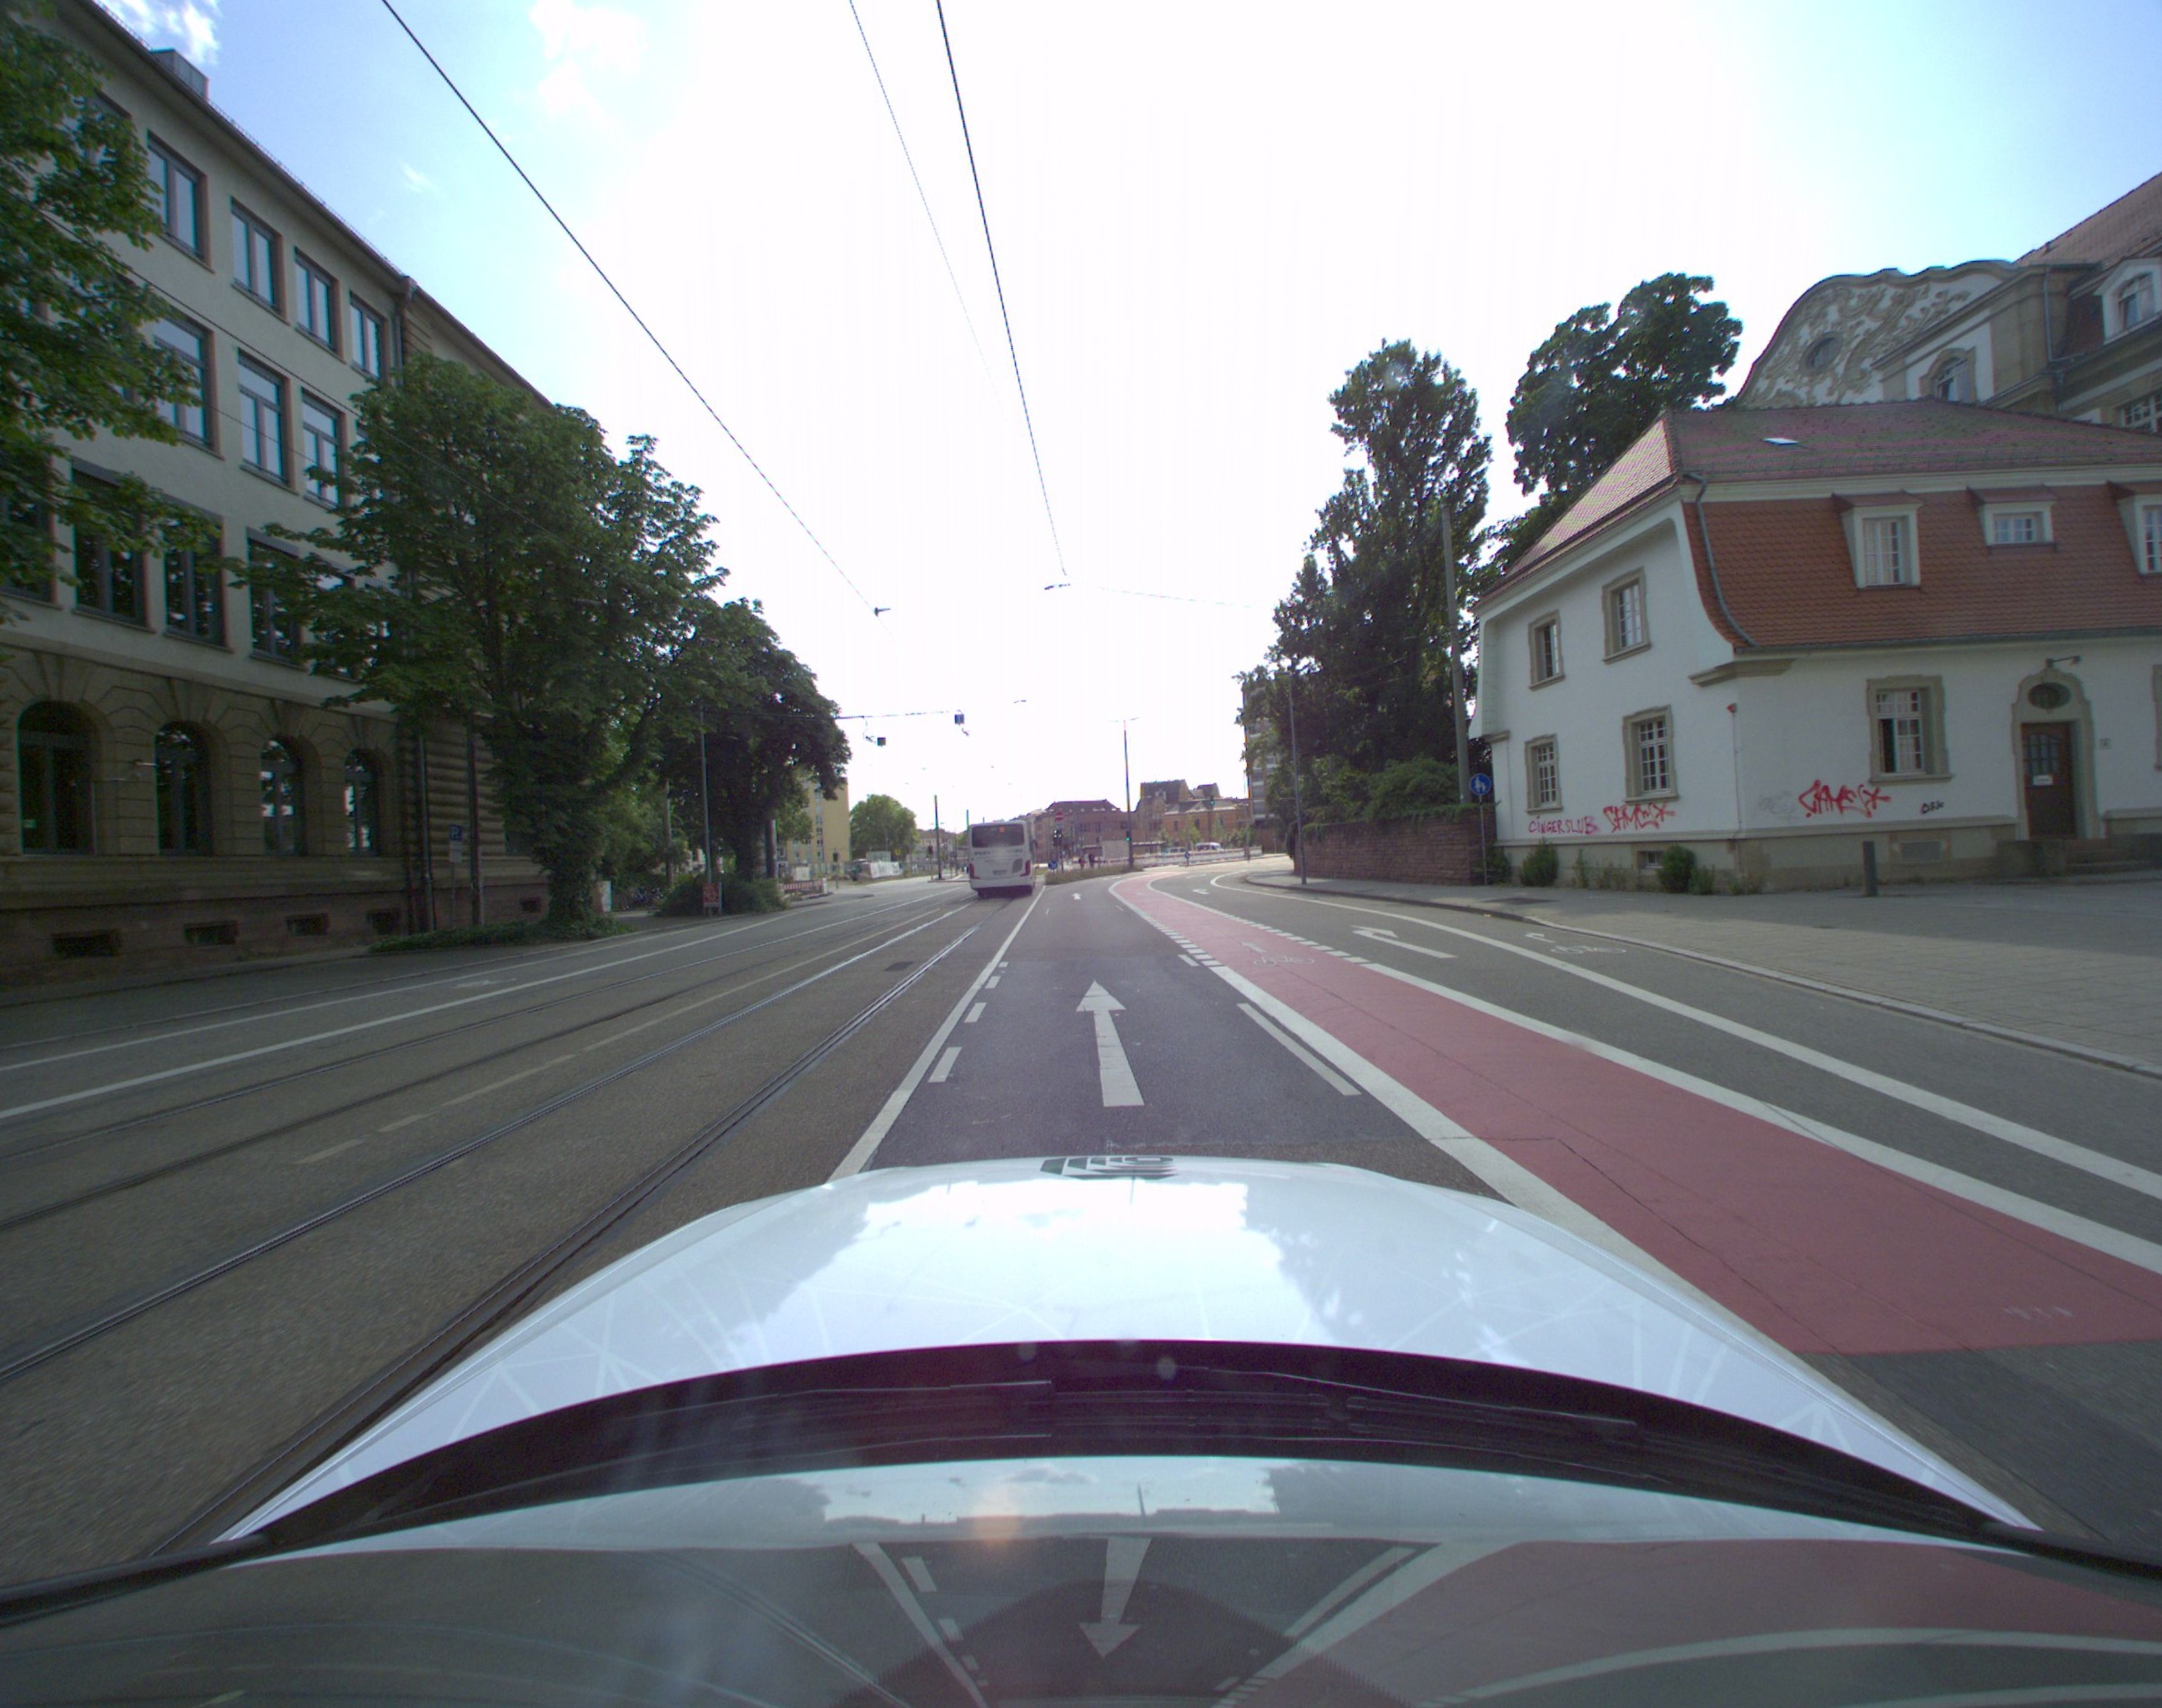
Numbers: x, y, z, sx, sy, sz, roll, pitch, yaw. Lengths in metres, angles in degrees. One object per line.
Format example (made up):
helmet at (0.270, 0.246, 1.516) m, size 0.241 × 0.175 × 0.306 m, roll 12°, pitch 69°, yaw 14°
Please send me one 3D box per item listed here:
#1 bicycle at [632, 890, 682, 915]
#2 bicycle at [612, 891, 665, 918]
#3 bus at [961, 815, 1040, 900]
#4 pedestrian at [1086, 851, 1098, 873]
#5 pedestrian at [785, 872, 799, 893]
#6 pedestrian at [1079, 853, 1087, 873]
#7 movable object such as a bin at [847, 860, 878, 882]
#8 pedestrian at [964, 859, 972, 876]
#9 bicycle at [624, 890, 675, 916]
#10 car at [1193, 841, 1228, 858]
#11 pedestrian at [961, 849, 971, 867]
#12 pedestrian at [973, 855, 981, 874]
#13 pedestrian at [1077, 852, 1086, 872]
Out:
bicycle at (-21.787, 2.490, 41.903) m, size 2.109 × 1.168 × 0.729 m, roll -2°, pitch -1°, yaw -4°
bicycle at (-21.607, 2.459, 39.816) m, size 2.109 × 1.168 × 0.729 m, roll -2°, pitch -1°, yaw -4°
bus at (-3.587, 0.220, 39.397) m, size 2.910 × 3.328 × 12.195 m, roll -2°, pitch -1°, yaw -2°
pedestrian at (1.003, 0.705, 73.312) m, size 0.795 × 1.885 × 0.608 m, roll -3°, pitch 0°, yaw -25°
pedestrian at (-23.137, 2.259, 65.220) m, size 0.783 × 1.652 × 0.581 m, roll -4°, pitch 0°, yaw 2°
pedestrian at (0.196, 0.764, 72.781) m, size 0.405 × 1.736 × 0.624 m, roll -4°, pitch 0°, yaw 22°
movable object such as a bin at (-27.778, 2.189, 103.787) m, size 2.633 × 2.574 × 4.001 m, roll -3°, pitch -1°, yaw 1°
pedestrian at (-12.342, 1.475, 89.113) m, size 0.609 × 1.885 × 0.793 m, roll -3°, pitch 0°, yaw -1°
bicycle at (-21.706, 2.477, 41.011) m, size 2.109 × 1.168 × 0.729 m, roll -2°, pitch -1°, yaw -4°
car at (21.246, -0.714, 134.098) m, size 2.313 × 2.319 × 5.525 m, roll -3°, pitch -1°, yaw -38°
pedestrian at (-12.754, 0.459, 90.426) m, size 0.937 × 2.014 × 0.731 m, roll -2°, pitch -1°, yaw 0°
pedestrian at (-10.774, 1.070, 84.296) m, size 0.609 × 1.885 × 0.793 m, roll -3°, pitch 0°, yaw -1°
pedestrian at (0.066, 0.681, 71.749) m, size 0.607 × 1.706 × 0.624 m, roll -4°, pitch 0°, yaw 9°
